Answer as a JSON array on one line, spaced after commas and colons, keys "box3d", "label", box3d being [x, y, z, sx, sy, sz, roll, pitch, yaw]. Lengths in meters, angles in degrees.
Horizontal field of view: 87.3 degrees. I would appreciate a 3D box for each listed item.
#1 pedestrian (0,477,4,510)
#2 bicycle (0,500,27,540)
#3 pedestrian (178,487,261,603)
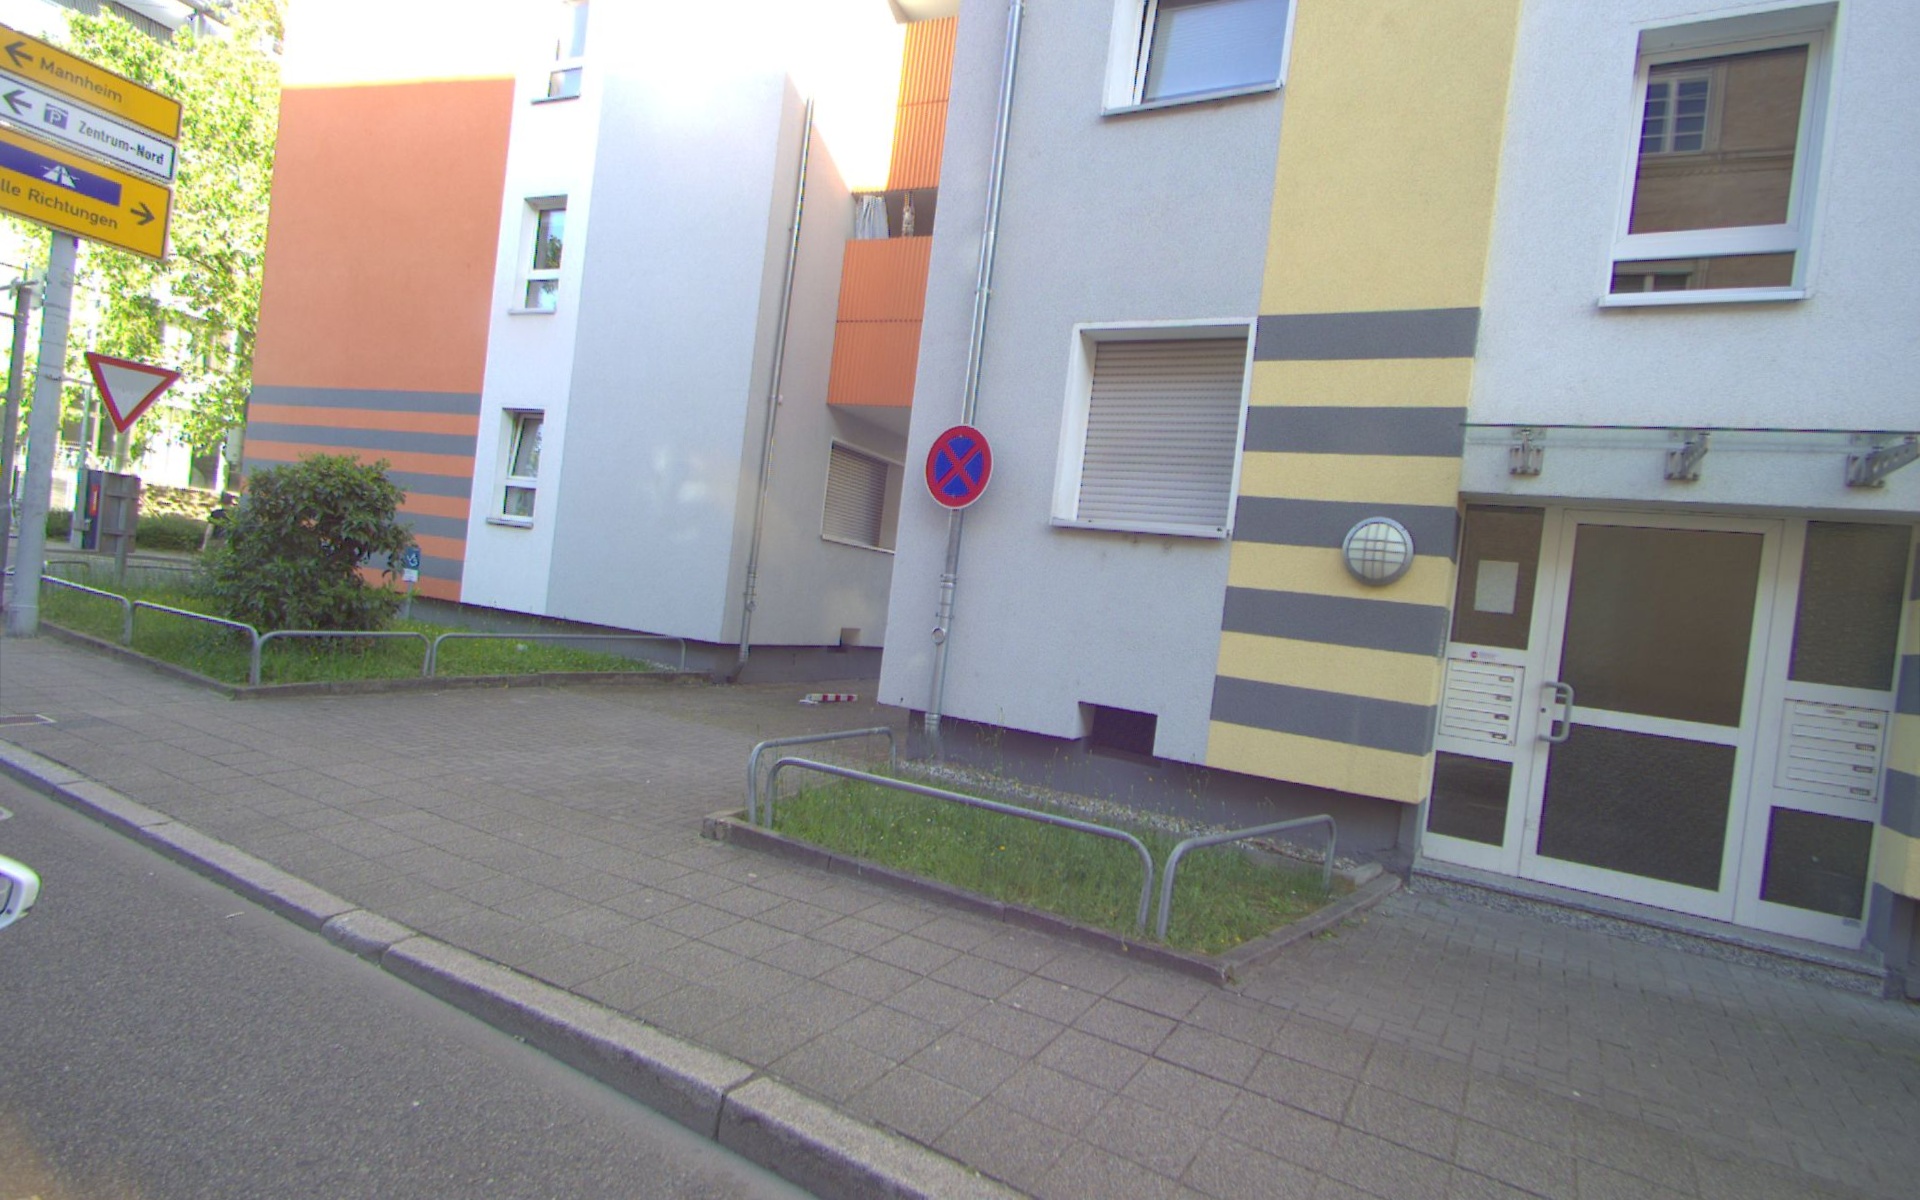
[{"box3d": [-25.108, -2.349, 25.679, 0.637, 1.739, 0.766, 6, -1, 34], "label": "pedestrian"}, {"box3d": [-26.398, -2.245, 27.393, 1.409, 1.021, 0.379, 7, 1, -11], "label": "bicycle"}, {"box3d": [-12.546, -0.907, 17.073, 0.690, 1.831, 0.719, 7, -1, -9], "label": "pedestrian"}]
